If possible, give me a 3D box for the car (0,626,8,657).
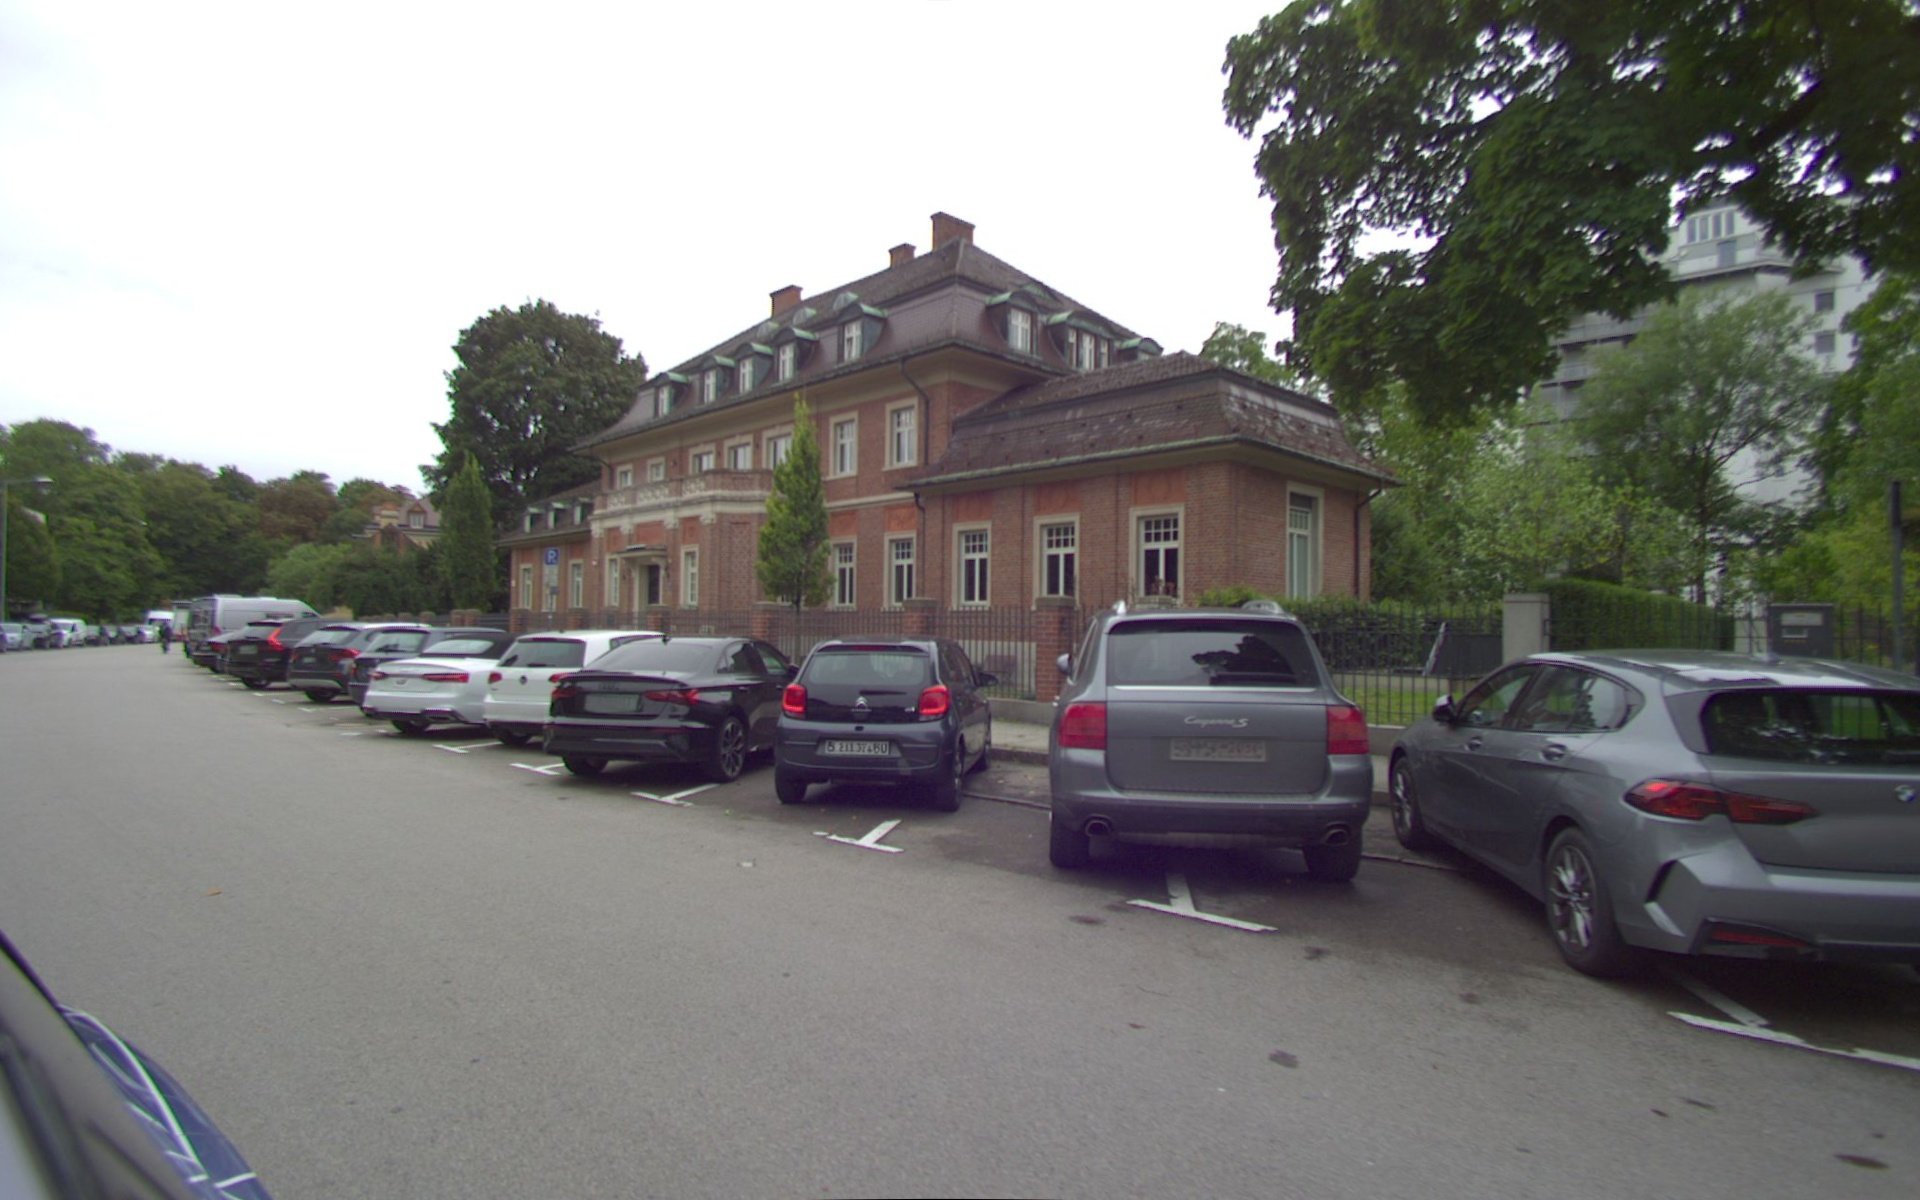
[{"bbox_3d":[-49.317,2.084,50.487,1.724,1.551,4.582,1,-2,-32],"label":"car"}]

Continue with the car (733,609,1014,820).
[{"bbox_3d":[-0.596,0.981,10.338,1.943,1.642,4.401,1,-2,8],"label":"car"}]

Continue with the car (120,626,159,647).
[{"bbox_3d":[-68.080,3.077,84.072,1.845,1.581,5.015,4,-5,-32],"label":"car"}]

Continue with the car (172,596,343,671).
[{"bbox_3d":[-25.627,1.265,37.093,2.223,2.583,4.595,-1,-3,27],"label":"car"}]

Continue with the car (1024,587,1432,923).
[{"bbox_3d":[1.692,0.873,7.591,2.112,1.712,4.401,1,-2,8],"label":"car"}]

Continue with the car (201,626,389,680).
[{"bbox_3d":[-19.769,1.610,30.359,1.807,1.462,4.496,0,-3,20],"label":"car"}]

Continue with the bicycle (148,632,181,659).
[{"bbox_3d":[-39.845,2.275,50.704,0.696,1.315,2.125,1,-2,-22],"label":"bicycle"}]

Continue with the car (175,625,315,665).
[{"bbox_3d":[-30.655,1.952,43.554,1.955,1.606,4.486,0,-3,27],"label":"car"}]

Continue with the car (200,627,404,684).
[{"bbox_3d":[-18.164,1.555,28.219,1.913,1.429,4.496,0,-3,20],"label":"car"}]

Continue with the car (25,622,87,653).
[{"bbox_3d":[-57.042,2.341,63.969,1.797,1.875,4.913,0,-2,-28],"label":"car"}]

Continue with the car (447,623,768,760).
[{"bbox_3d":[-4.553,1.209,13.961,1.915,1.521,4.492,1,-4,16],"label":"car"}]

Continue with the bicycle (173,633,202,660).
[{"bbox_3d":[-39.088,2.350,51.206,0.697,1.315,2.125,1,-2,-25],"label":"bicycle"}]

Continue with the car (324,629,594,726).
[{"bbox_3d":[-8.602,1.291,17.851,1.644,1.462,4.367,0,-3,19],"label":"car"}]

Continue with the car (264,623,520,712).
[{"bbox_3d":[-11.429,1.314,20.788,1.874,1.579,4.499,0,-2,18],"label":"car"}]

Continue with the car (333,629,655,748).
[{"bbox_3d":[-6.641,1.204,15.081,1.880,1.462,4.493,0,-2,16],"label":"car"}]

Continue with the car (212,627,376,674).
[{"bbox_3d":[-23.294,1.738,35.620,1.926,1.528,4.489,0,-2,25],"label":"car"}]

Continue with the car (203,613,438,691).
[{"bbox_3d":[-15.305,1.249,24.547,1.973,1.677,4.496,1,-3,20],"label":"car"}]

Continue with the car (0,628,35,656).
[{"bbox_3d":[-52.326,2.295,55.375,1.723,1.492,3.900,1,-3,-30],"label":"car"}]

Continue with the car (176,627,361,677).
[{"bbox_3d":[-21.894,1.664,32.258,1.965,1.462,4.492,0,-3,23],"label":"car"}]

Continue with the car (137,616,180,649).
[{"bbox_3d":[-71.226,2.924,90.032,2.051,2.707,6.106,4,-4,-31],"label":"car"}]

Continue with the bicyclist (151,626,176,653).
[{"bbox_3d":[-39.830,1.977,50.618,0.687,1.362,0.933,1,-2,-22],"label":"bicyclist"}]

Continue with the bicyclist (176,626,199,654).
[{"bbox_3d":[-39.069,2.018,51.166,0.687,1.408,0.933,1,-2,-24],"label":"bicyclist"}]

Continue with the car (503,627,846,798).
[{"bbox_3d":[-2.805,1.056,11.162,1.944,1.450,4.399,1,-2,9],"label":"car"}]

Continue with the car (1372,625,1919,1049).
[{"bbox_3d":[3.980,0.931,5.774,1.994,1.502,4.400,1,-2,8],"label":"car"}]

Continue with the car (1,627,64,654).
[{"bbox_3d":[-54.439,2.370,59.498,1.723,1.492,4.611,1,-2,-30],"label":"car"}]

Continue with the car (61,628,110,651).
[{"bbox_3d":[-59.737,2.694,69.207,1.723,1.475,4.255,2,-3,-30],"label":"car"}]
